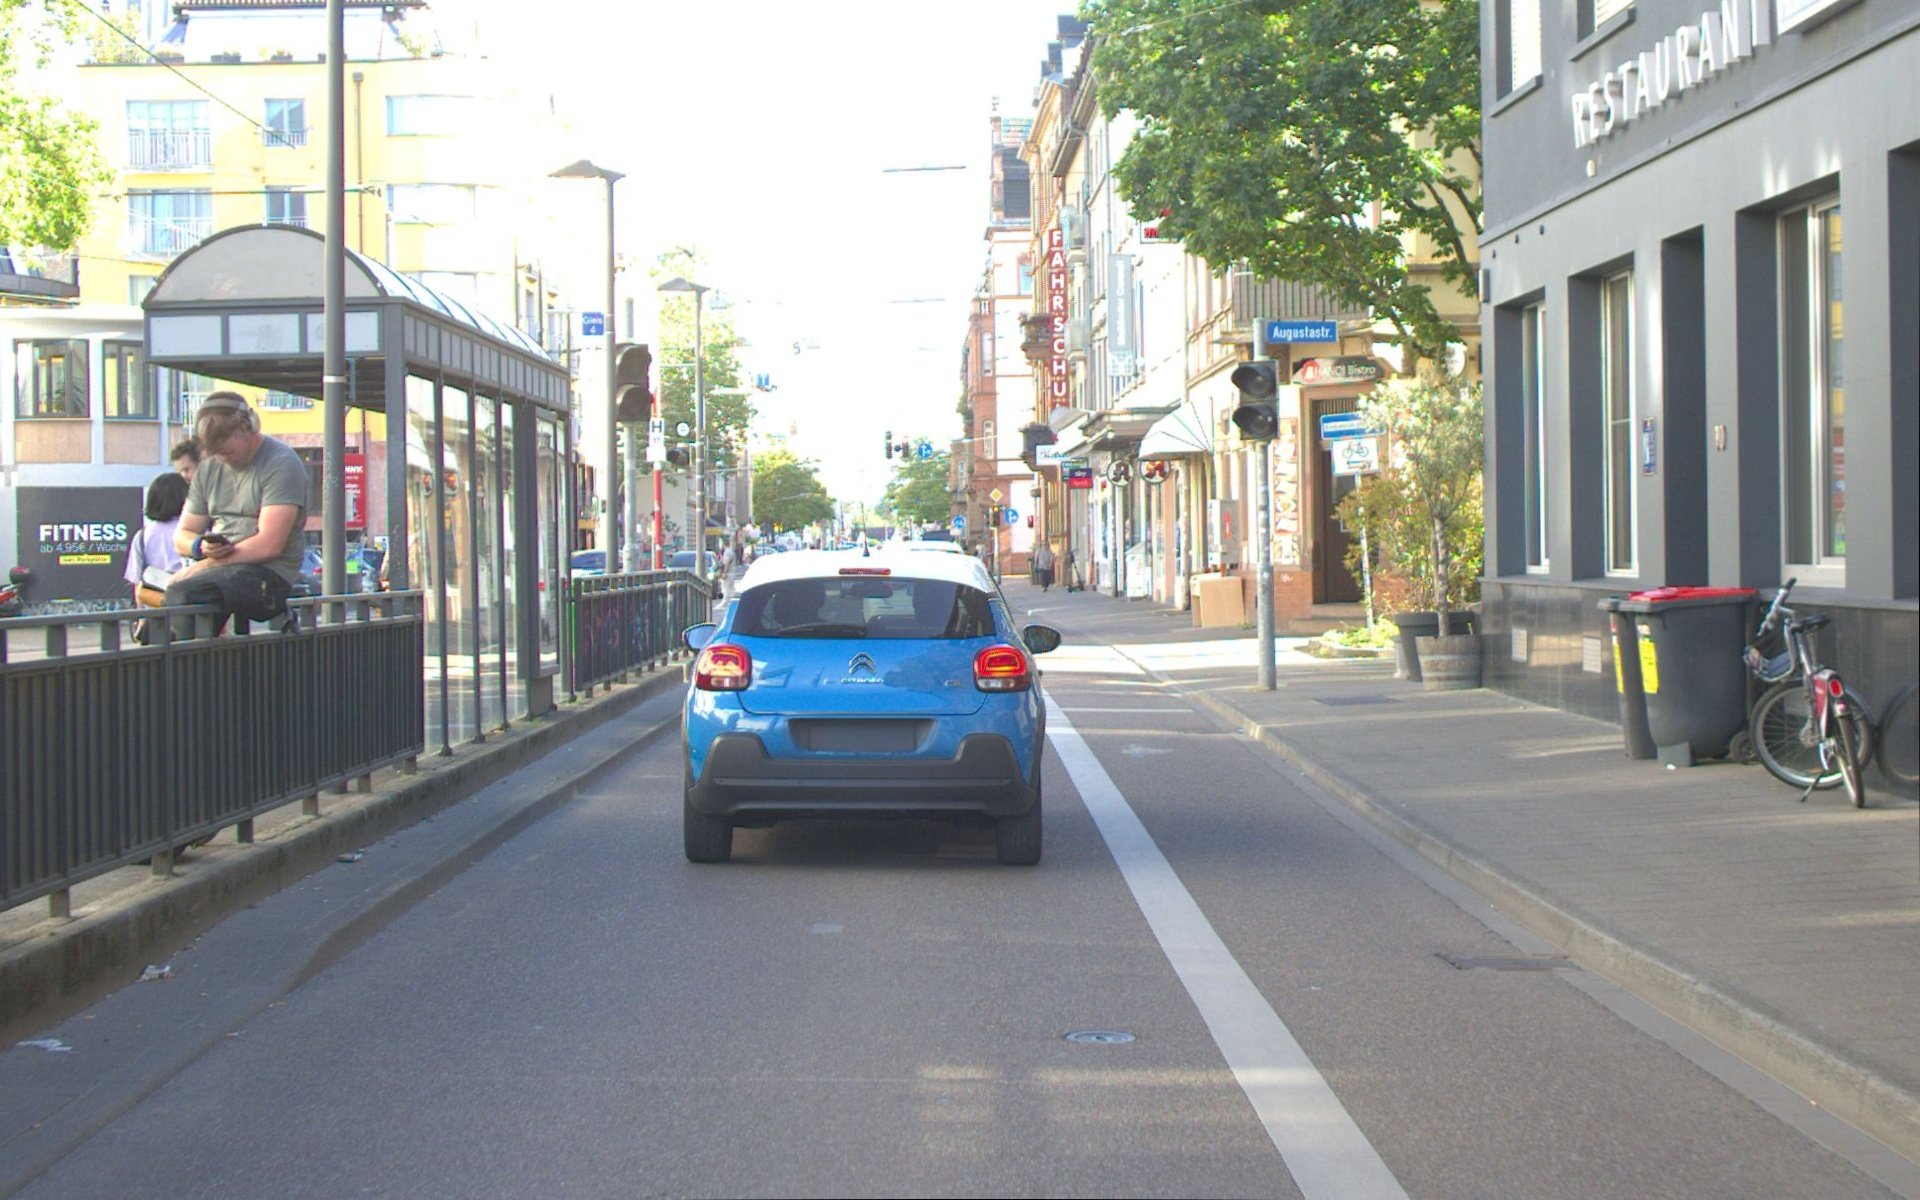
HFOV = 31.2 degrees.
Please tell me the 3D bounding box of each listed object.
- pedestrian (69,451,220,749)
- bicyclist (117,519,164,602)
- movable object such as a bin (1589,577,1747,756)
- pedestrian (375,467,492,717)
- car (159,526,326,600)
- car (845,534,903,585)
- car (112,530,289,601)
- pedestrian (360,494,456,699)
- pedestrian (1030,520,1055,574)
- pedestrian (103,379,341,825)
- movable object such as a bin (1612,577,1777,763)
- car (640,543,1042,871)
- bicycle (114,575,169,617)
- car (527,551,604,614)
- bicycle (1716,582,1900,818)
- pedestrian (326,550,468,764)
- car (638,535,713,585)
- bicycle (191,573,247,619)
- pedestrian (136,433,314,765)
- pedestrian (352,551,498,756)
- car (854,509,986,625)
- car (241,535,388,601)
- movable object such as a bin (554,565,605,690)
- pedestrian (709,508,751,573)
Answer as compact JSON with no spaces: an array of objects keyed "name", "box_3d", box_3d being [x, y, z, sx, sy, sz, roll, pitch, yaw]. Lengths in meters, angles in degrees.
[{"name":"pedestrian","box_3d":[-4.346,-0.003,18.330,0.586,1.556,0.469,-1,1,35]},{"name":"bicyclist","box_3d":[-15.448,-0.750,64.813,0.672,1.552,0.778,-1,1,0]},{"name":"movable object such as a bin","box_3d":[4.400,0.403,21.401,0.748,1.033,0.754,-5,1,0]},{"name":"pedestrian","box_3d":[-3.753,-0.061,24.494,0.563,1.745,0.719,-2,1,-29]},{"name":"car","box_3d":[-18.596,-0.975,89.194,3.986,1.841,1.958,-1,1,-4]},{"name":"car","box_3d":[-3.061,-1.436,123.348,1.993,1.737,4.000,0,0,-1]},{"name":"car","box_3d":[-18.665,-0.871,84.665,3.986,1.669,1.958,-1,1,-4]},{"name":"pedestrian","box_3d":[-4.253,-0.031,26.503,0.621,1.553,0.568,-1,1,0]},{"name":"pedestrian","box_3d":[2.496,-1.609,104.294,0.693,1.645,0.680,-1,1,-1]},{"name":"pedestrian","box_3d":[-2.886,0.006,13.521,0.636,1.692,0.933,0,0,7]},{"name":"movable object such as a bin","box_3d":[4.399,0.411,20.637,0.748,1.033,0.754,-5,1,0]},{"name":"car","box_3d":[-0.552,0.449,17.156,1.781,1.446,3.654,0,1,-1]},{"name":"bicycle","box_3d":[-15.417,-0.077,64.792,0.566,0.755,1.937,-1,1,0]},{"name":"car","box_3d":[-10.909,-0.495,95.262,1.752,1.609,4.828,-3,1,-3]},{"name":"bicycle","box_3d":[4.359,0.486,17.762,0.459,1.119,1.773,-2,1,0]},{"name":"pedestrian","box_3d":[-3.425,0.339,20.970,0.711,1.268,0.657,-1,1,2]},{"name":"car","box_3d":[-9.098,-1.297,110.052,1.951,1.481,4.000,-2,1,1]},{"name":"bicycle","box_3d":[-16.789,-0.100,77.947,0.679,0.999,2.686,-1,1,0]},{"name":"pedestrian","box_3d":[-4.012,-0.009,18.766,0.718,1.771,0.564,-1,1,35]},{"name":"pedestrian","box_3d":[-3.408,0.333,21.956,0.764,1.268,0.719,-1,1,2]},{"name":"car","box_3d":[-0.628,-0.499,54.243,1.993,1.737,4.000,0,0,-1]},{"name":"car","box_3d":[-18.812,-0.947,100.294,3.986,1.841,1.958,-1,1,-4]},{"name":"movable object such as a bin","box_3d":[-3.085,0.221,27.905,0.346,1.004,0.404,-1,1,1]},{"name":"pedestrian","box_3d":[-5.907,-1.535,88.332,0.838,1.648,0.697,-1,1,-29]}]
